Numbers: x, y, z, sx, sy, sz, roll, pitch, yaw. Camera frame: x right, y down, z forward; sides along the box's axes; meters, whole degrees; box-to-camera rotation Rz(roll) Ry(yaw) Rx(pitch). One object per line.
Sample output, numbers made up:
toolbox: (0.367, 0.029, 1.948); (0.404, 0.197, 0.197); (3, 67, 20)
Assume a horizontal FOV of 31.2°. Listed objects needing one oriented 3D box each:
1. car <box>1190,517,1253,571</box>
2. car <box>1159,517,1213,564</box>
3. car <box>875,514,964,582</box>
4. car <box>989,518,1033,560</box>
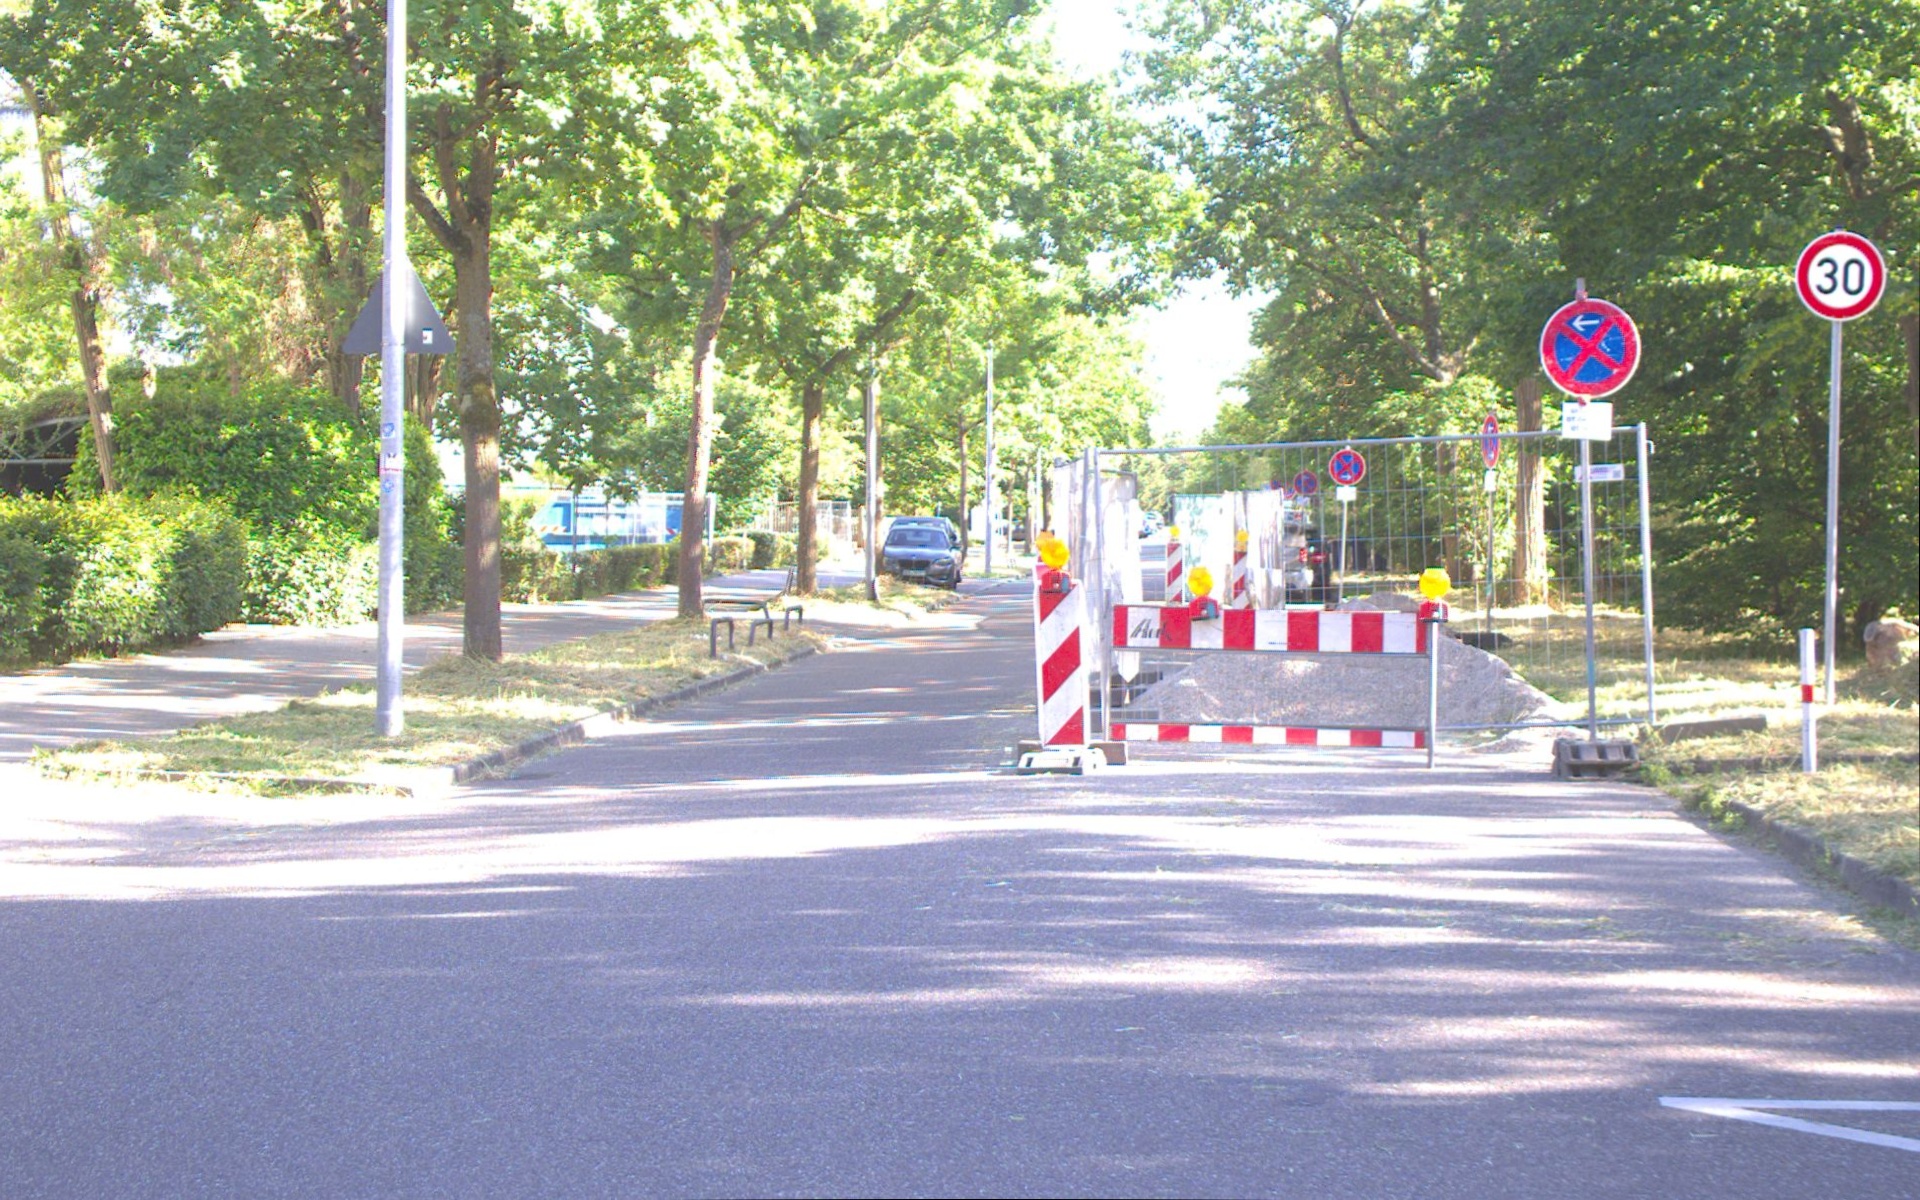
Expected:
car: (6.473, -1.388, 85.358); (1.361, 1.297, 3.481); (1, 1, 2)
car: (6.453, -1.696, 98.356); (1.361, 1.297, 3.481); (1, 1, 2)
car: (-0.882, -1.177, 76.287); (1.751, 1.473, 3.836); (0, 1, 3)
car: (1.652, -1.962, 111.301); (1.361, 1.297, 3.481); (1, 1, 2)
